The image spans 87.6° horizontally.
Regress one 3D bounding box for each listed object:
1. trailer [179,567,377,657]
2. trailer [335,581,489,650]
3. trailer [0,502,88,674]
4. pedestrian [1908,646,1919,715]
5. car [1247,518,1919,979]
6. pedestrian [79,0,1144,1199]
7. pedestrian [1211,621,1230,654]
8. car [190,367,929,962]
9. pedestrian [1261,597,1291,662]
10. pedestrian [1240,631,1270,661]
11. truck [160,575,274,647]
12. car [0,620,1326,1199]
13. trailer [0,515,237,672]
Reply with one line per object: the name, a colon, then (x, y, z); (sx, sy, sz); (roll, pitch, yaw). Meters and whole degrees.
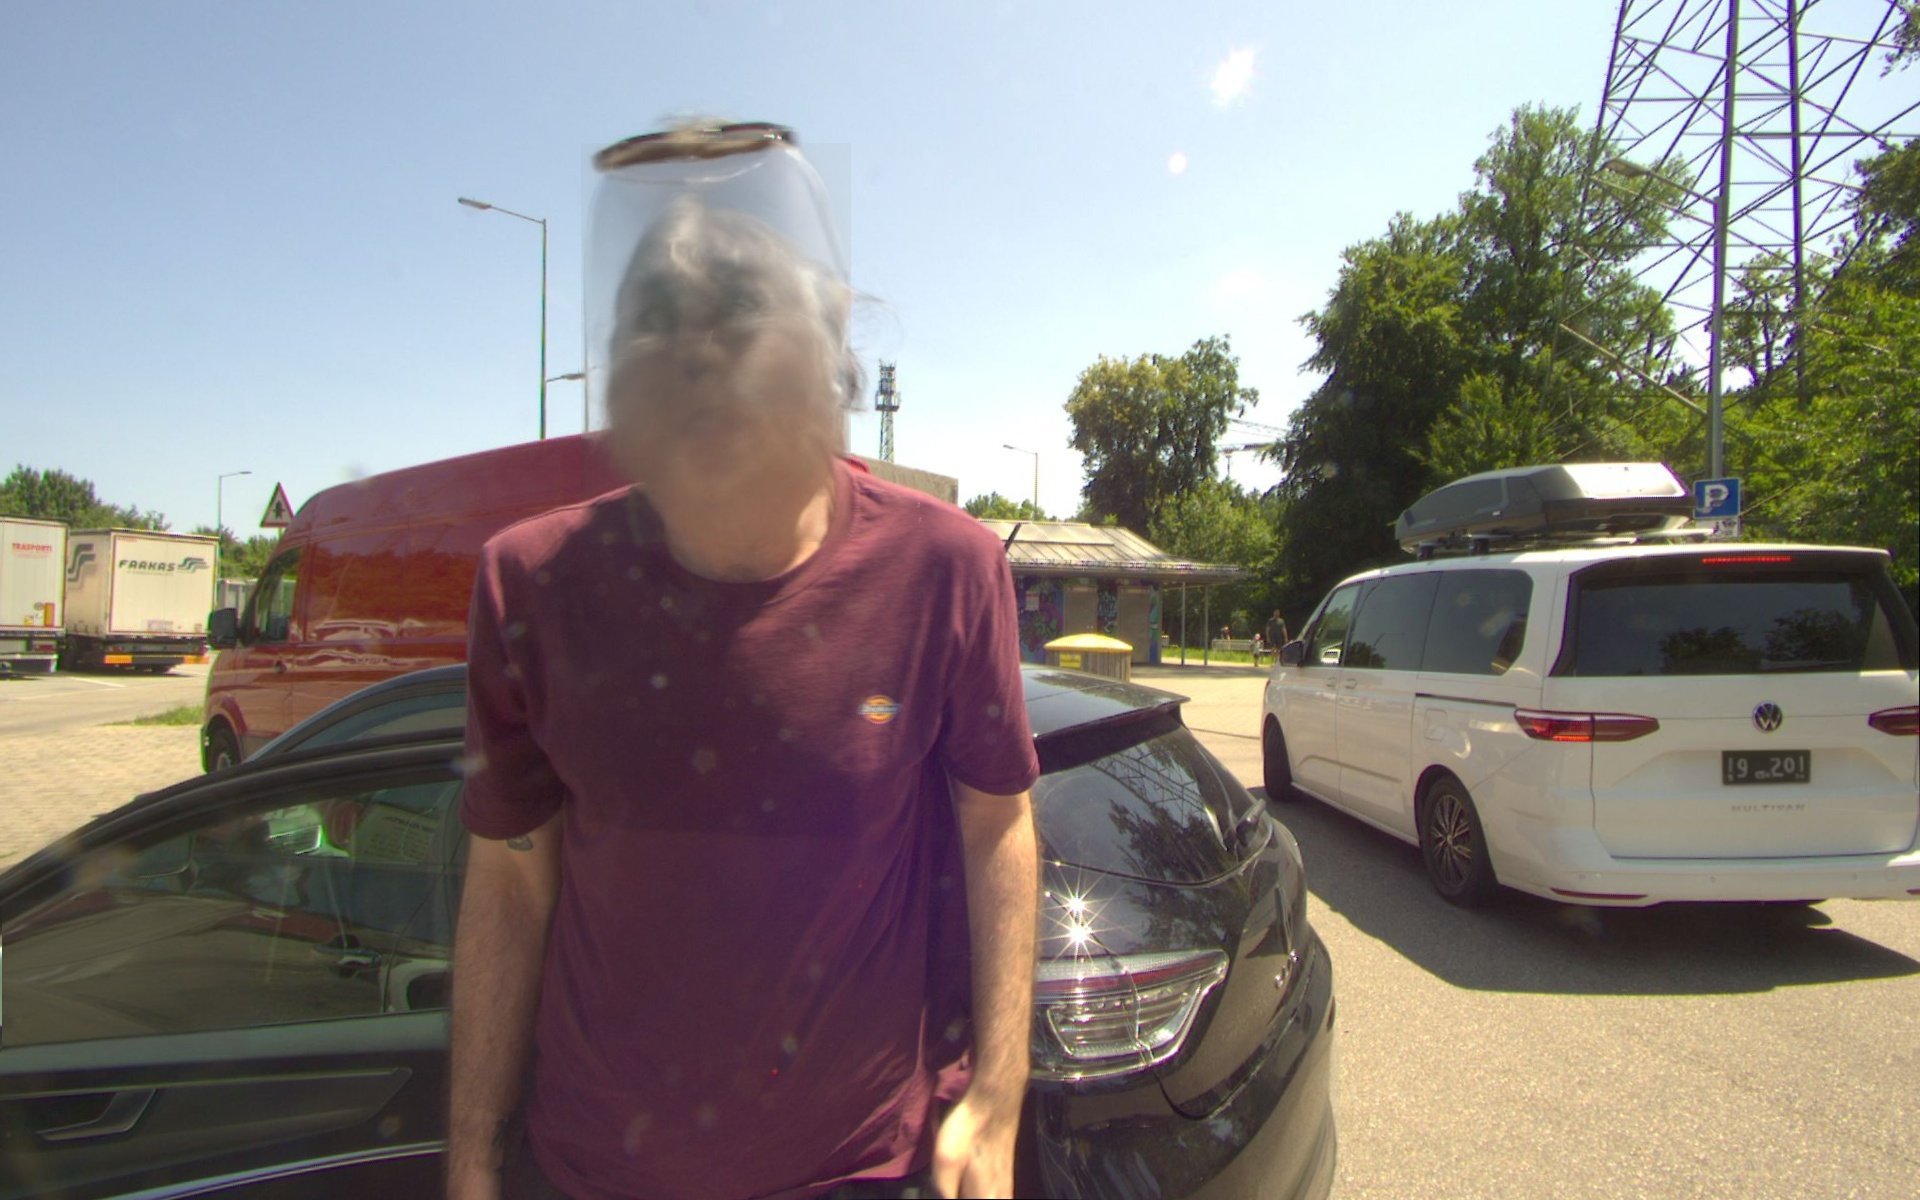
trailer: (-32.352, 0.488, 47.130); (13.530, 3.764, 2.834); (1, -2, 34)
trailer: (-36.011, 0.929, 65.424); (13.530, 4.101, 2.834); (1, -2, 34)
trailer: (-28.940, -0.377, 28.138); (13.523, 4.184, 2.835); (1, -2, 33)
pedestrian: (17.213, 1.395, 17.450); (0.876, 1.192, 0.666); (-1, -2, 32)
car: (3.484, 0.678, 6.516); (1.875, 1.937, 4.565); (0, -1, -1)
pedestrian: (-0.348, 0.602, 1.003); (0.878, 1.865, 0.618); (-1, -1, 35)
pedestrian: (12.039, 1.740, 46.338); (0.636, 1.547, 0.563); (0, -1, -24)
car: (-3.333, 0.318, 7.338); (6.310, 2.731, 2.060); (0, -1, 37)
pedestrian: (10.086, 0.943, 31.951); (0.634, 2.067, 0.778); (0, -1, -10)
pedestrian: (9.400, 1.466, 31.920); (0.634, 0.960, 0.778); (0, -2, -10)
truck: (-37.660, 0.568, 50.731); (5.405, 3.407, 2.848); (1, -2, 34)
car: (-1.043, 0.842, 2.886); (3.757, 1.501, 1.736); (0, -1, 27)
trailer: (-27.631, -0.194, 31.618); (13.523, 4.184, 2.835); (1, -2, 33)
